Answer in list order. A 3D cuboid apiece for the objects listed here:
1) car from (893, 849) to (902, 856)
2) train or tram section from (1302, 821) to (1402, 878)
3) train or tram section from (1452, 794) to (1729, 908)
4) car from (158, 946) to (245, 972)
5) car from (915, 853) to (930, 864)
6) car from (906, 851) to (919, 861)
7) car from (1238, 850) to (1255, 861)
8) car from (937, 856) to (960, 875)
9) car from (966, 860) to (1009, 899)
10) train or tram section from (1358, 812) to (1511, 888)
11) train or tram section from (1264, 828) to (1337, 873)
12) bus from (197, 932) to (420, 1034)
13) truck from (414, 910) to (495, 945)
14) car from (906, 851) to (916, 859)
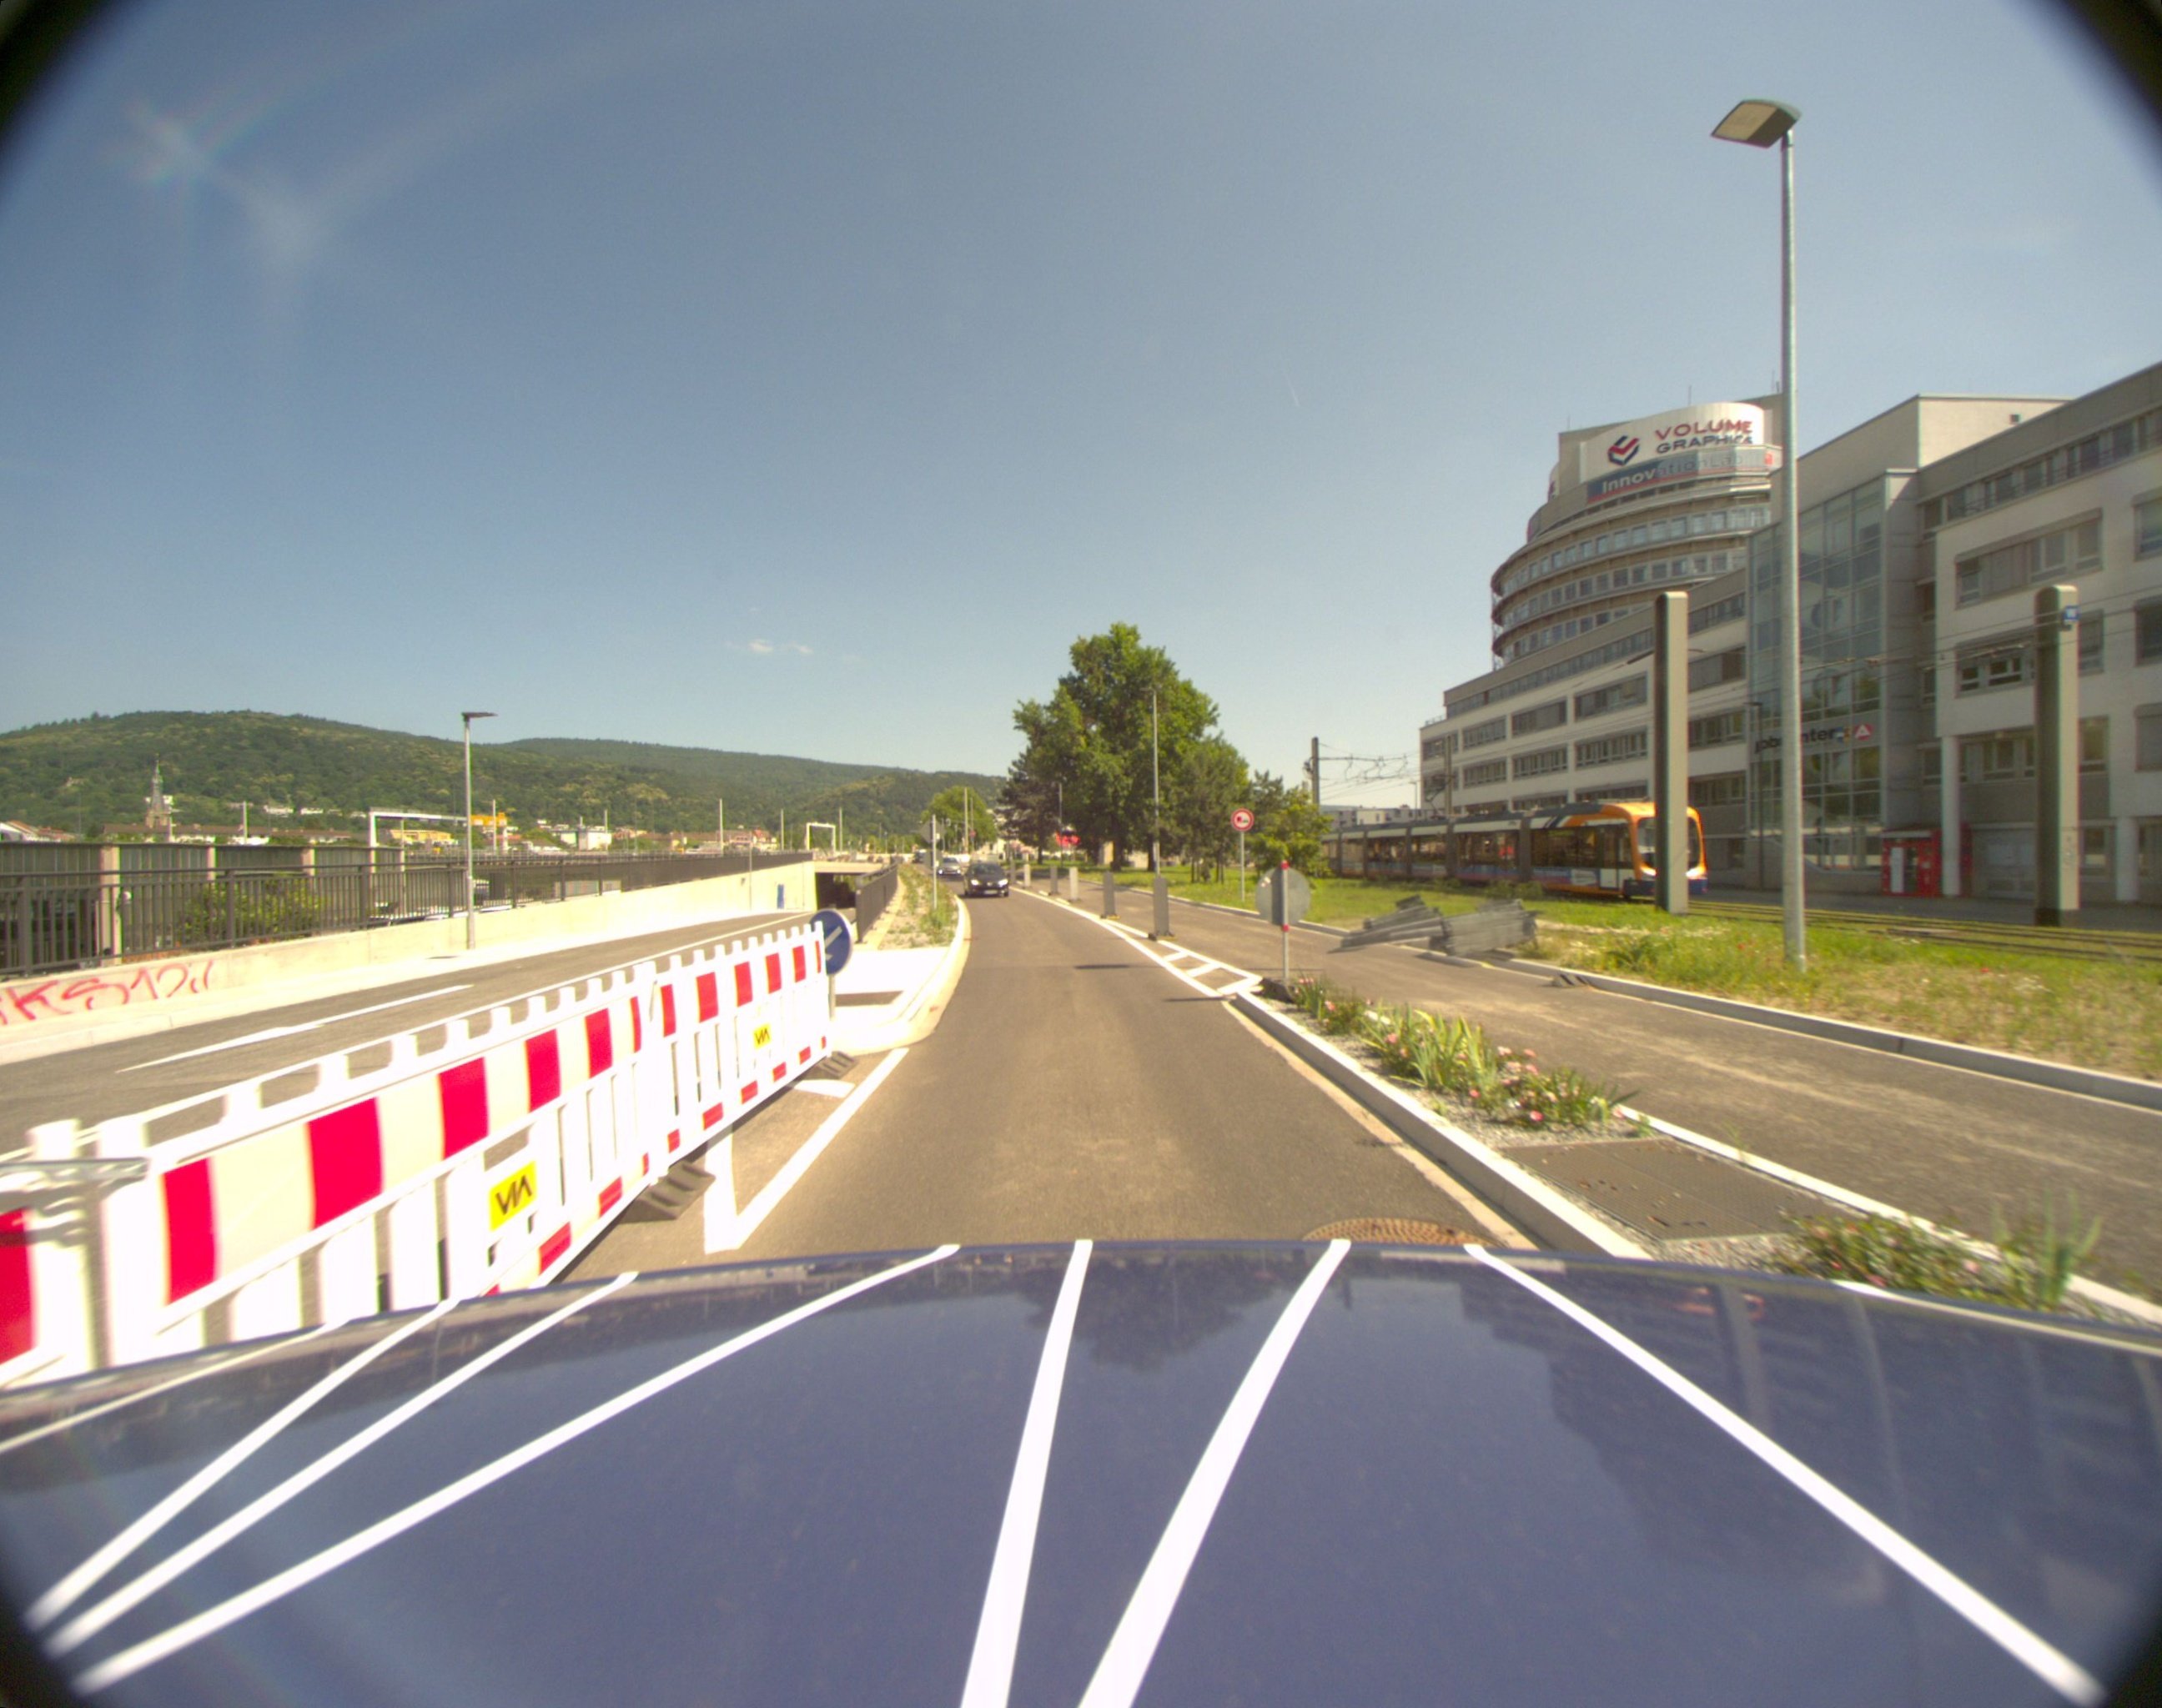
[{"bbox_3d":[-39.441,-0.358,163.344,1.621,1.433,3.762,-1,1,-17],"label":"car"},{"bbox_3d":[18.494,-0.318,52.981,2.631,3.431,11.779,-3,0,0],"label":"train or tram section"},{"bbox_3d":[18.619,-0.137,29.353,2.631,3.431,11.779,-3,0,0],"label":"train or tram section"},{"bbox_3d":[-68.260,8.119,59.013,4.368,1.576,1.745,-2,1,-5],"label":"car"},{"bbox_3d":[-21.526,0.629,103.091,1.621,1.433,3.762,-1,1,-16],"label":"car"},{"bbox_3d":[-25.913,0.332,116.809,1.621,1.433,3.762,-1,1,-17],"label":"car"},{"bbox_3d":[24.953,0.171,114.839,1.891,1.493,3.803,-2,1,2],"label":"car"},{"bbox_3d":[-10.571,0.885,60.431,1.620,1.433,3.763,-1,1,-13],"label":"car"},{"bbox_3d":[-3.982,1.024,32.000,1.620,1.433,3.703,-1,1,-10],"label":"car"},{"bbox_3d":[18.557,-0.226,41.165,2.631,3.431,11.779,-3,0,0],"label":"train or tram section"},{"bbox_3d":[18.443,-0.326,64.803,2.631,3.431,11.779,-3,0,0],"label":"train or tram section"},{"bbox_3d":[-43.199,6.942,43.430,2.552,3.511,12.524,-2,1,-13],"label":"bus"},{"bbox_3d":[-66.957,7.798,81.438,1.999,2.742,8.389,-2,1,-3],"label":"truck"},{"bbox_3d":[-33.749,0.140,150.917,1.621,1.433,3.762,-1,1,-17],"label":"car"}]
